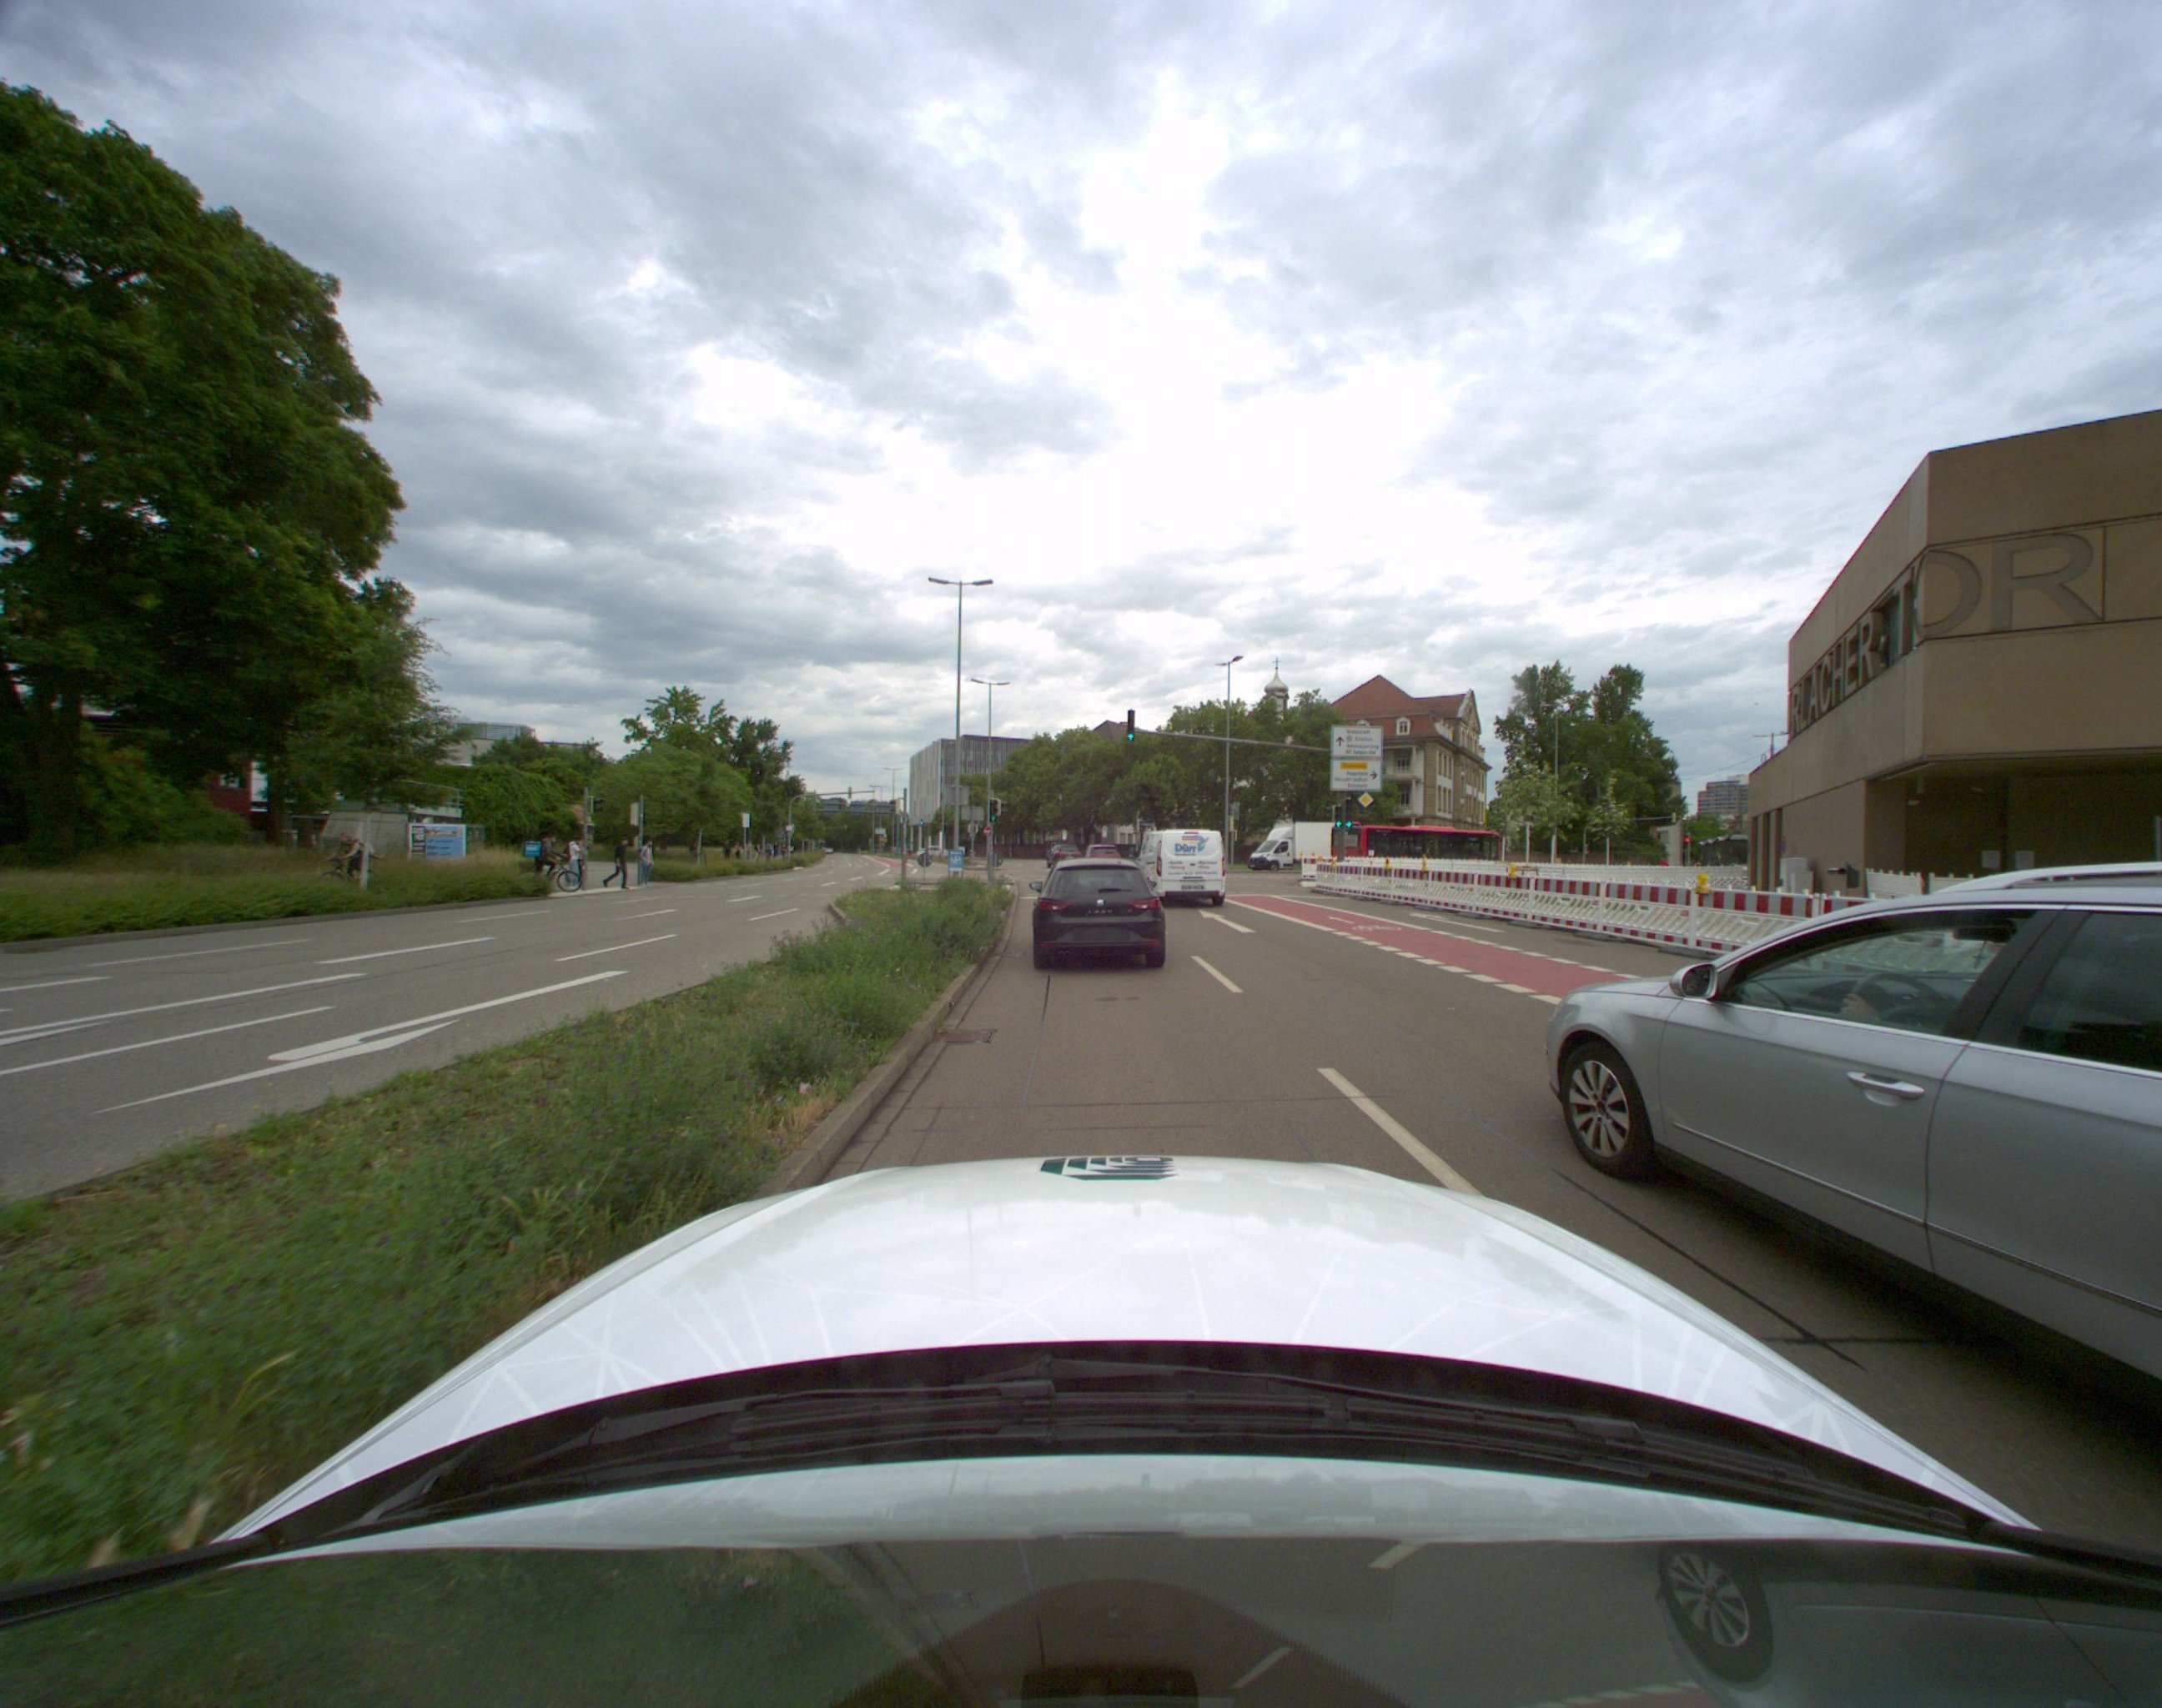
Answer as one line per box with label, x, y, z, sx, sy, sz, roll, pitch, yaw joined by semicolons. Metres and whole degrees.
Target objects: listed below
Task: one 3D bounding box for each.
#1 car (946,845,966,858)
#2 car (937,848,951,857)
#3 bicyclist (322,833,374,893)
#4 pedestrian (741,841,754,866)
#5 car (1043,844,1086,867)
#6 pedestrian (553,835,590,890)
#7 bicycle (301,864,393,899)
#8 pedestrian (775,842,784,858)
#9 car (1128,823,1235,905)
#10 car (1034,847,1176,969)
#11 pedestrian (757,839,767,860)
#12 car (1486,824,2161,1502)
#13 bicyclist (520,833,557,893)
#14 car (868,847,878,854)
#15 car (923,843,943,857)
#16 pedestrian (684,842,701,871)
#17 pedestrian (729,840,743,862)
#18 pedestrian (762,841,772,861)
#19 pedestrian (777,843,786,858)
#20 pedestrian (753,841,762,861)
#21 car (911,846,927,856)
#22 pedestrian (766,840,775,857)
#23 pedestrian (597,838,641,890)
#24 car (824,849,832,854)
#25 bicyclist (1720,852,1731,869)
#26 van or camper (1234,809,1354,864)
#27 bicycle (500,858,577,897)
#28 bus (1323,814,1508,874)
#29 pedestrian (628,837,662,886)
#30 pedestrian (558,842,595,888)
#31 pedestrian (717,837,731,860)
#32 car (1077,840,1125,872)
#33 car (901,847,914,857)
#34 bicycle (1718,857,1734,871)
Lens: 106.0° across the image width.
car;-17.786;-0.373;115.918;1.925;1.684;3.971;0;0;-22
car;-21.469;-0.280;127.851;1.532;1.365;2.947;0;0;-23
bicyclist;-19.488;0.231;21.662;0.712;1.570;0.712;0;0;0
pedestrian;-27.320;-0.045;66.685;0.754;2.013;1.044;0;0;-8
car;-1.241;0.078;57.666;1.998;1.566;4.181;0;1;-17
pedestrian;-17.355;0.289;27.758;0.754;1.842;0.766;1;0;1
bicycle;-19.494;0.710;21.687;0.712;0.882;1.883;0;-1;1
pedestrian;-33.499;-0.459;90.468;0.920;1.779;1.058;0;0;-16
car;2.647;0.223;22.699;1.990;2.019;5.024;0;1;-4
car;0.210;0.667;12.024;1.742;1.464;3.996;-1;0;-3
pedestrian;-31.664;-0.439;80.914;0.755;2.013;1.043;0;0;-12
car;3.228;0.654;2.536;1.714;1.482;4.630;-1;1;1
bicyclist;-17.136;0.269;25.712;0.838;1.844;0.783;0;0;-45
car;-43.333;-0.741;169.609;1.717;1.265;3.318;0;0;-20
car;-21.528;-0.589;118.298;2.002;2.013;3.969;0;0;-24
pedestrian;-26.676;0.157;55.912;0.754;2.013;1.044;0;0;-8
pedestrian;-26.826;-0.211;63.317;0.754;1.712;1.044;0;0;-8
pedestrian;-29.463;-0.252;76.435;0.714;1.870;0.754;0;0;-12
pedestrian;-36.922;-0.483;100.434;0.920;1.778;1.059;0;4;-16
pedestrian;-30.247;-0.270;76.169;0.714;1.870;0.754;0;0;-12
car;-25.707;-0.503;129.170;2.000;1.640;3.974;0;0;-20
pedestrian;-34.390;-0.605;90.190;0.920;1.779;1.058;0;0;-16
pedestrian;-16.499;0.346;29.110;1.045;1.842;0.866;0;0;1
car;-63.458;-0.632;204.167;1.694;1.416;3.615;0;0;-24
bicyclist;57.569;0.590;72.698;0.564;1.538;0.613;0;0;-33
van or camper;13.696;-1.055;52.314;7.155;3.332;2.856;0;-1;-21
bicycle;-17.115;0.724;25.714;1.917;1.159;0.782;0;1;-44
bus;20.130;-0.541;48.569;12.410;3.297;3.040;0;0;-28
pedestrian;-16.527;0.274;30.884;0.890;1.842;0.667;0;0;1
pedestrian;-18.459;0.385;29.817;0.838;1.649;0.806;0;0;1
pedestrian;-27.579;-0.452;62.858;0.754;1.765;0.903;0;0;-8
car;0.978;0.073;42.362;1.856;1.600;4.194;0;1;-8
car;-32.271;-0.404;151.097;1.999;1.681;3.987;0;0;-17
bicycle;57.641;0.908;72.750;1.556;1.228;0.623;0;1;-32
